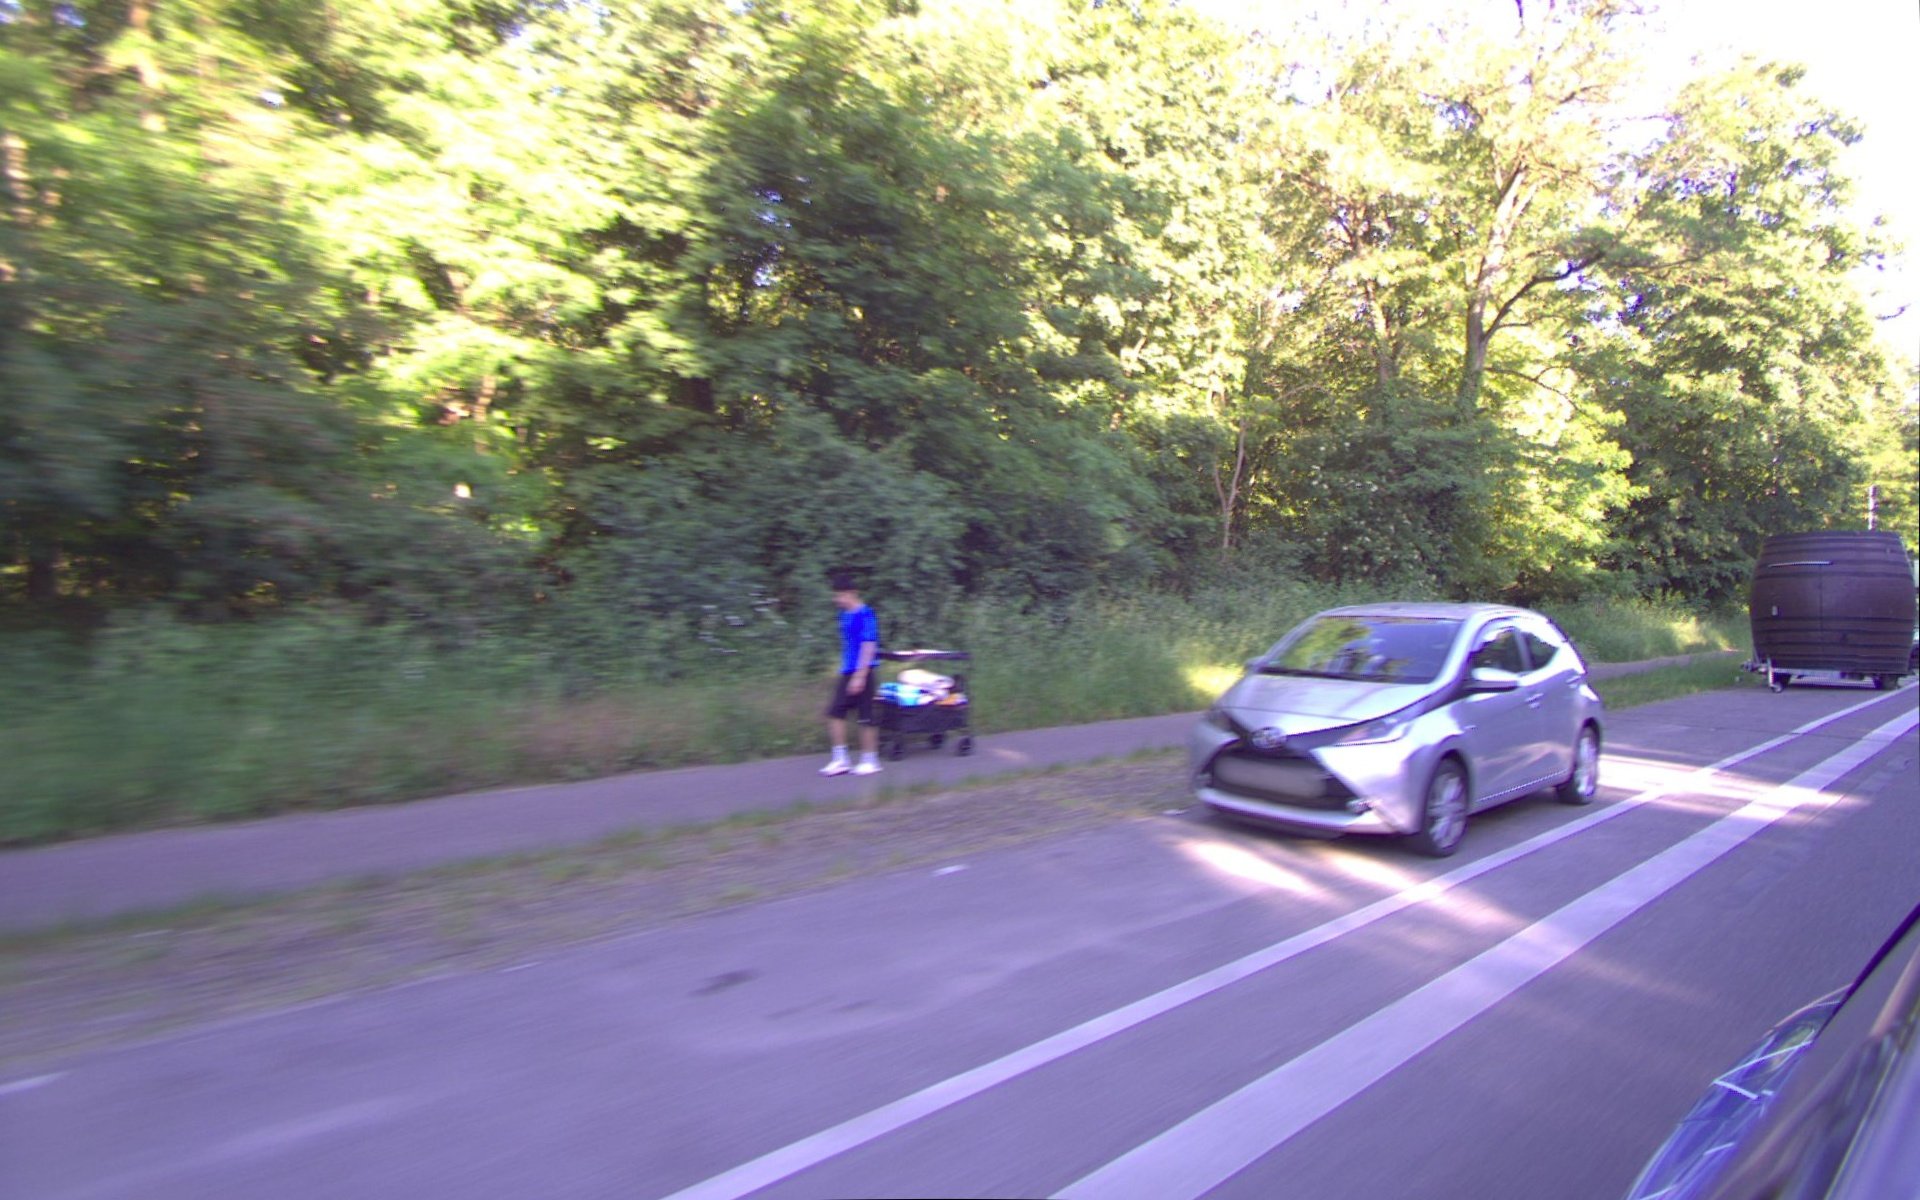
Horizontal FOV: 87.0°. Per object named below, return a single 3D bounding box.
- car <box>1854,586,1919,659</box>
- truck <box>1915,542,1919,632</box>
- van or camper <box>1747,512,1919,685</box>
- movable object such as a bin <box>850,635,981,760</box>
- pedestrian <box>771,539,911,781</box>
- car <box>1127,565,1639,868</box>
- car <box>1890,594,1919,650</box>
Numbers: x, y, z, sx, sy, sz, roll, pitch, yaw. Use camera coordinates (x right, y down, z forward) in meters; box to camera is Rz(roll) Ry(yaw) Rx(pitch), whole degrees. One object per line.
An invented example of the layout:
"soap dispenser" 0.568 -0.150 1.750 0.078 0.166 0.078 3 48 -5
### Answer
"car" 23.757 0.536 25.087 4.470 1.686 1.715 0 -1 -40
"truck" 41.741 -0.463 41.625 8.430 3.541 2.837 0 1 -42
"van or camper" 17.320 -0.016 19.672 2.441 2.835 6.451 -1 -1 44
"movable object such as a bin" -0.430 0.901 9.745 0.969 1.060 0.791 0 1 -40
"pedestrian" -1.028 0.473 8.714 0.903 1.942 0.769 0 1 -40
"car" 3.149 0.613 7.178 3.950 1.565 1.715 0 -1 -40
"car" 28.751 0.612 29.577 4.470 1.588 1.715 0 -1 -40
